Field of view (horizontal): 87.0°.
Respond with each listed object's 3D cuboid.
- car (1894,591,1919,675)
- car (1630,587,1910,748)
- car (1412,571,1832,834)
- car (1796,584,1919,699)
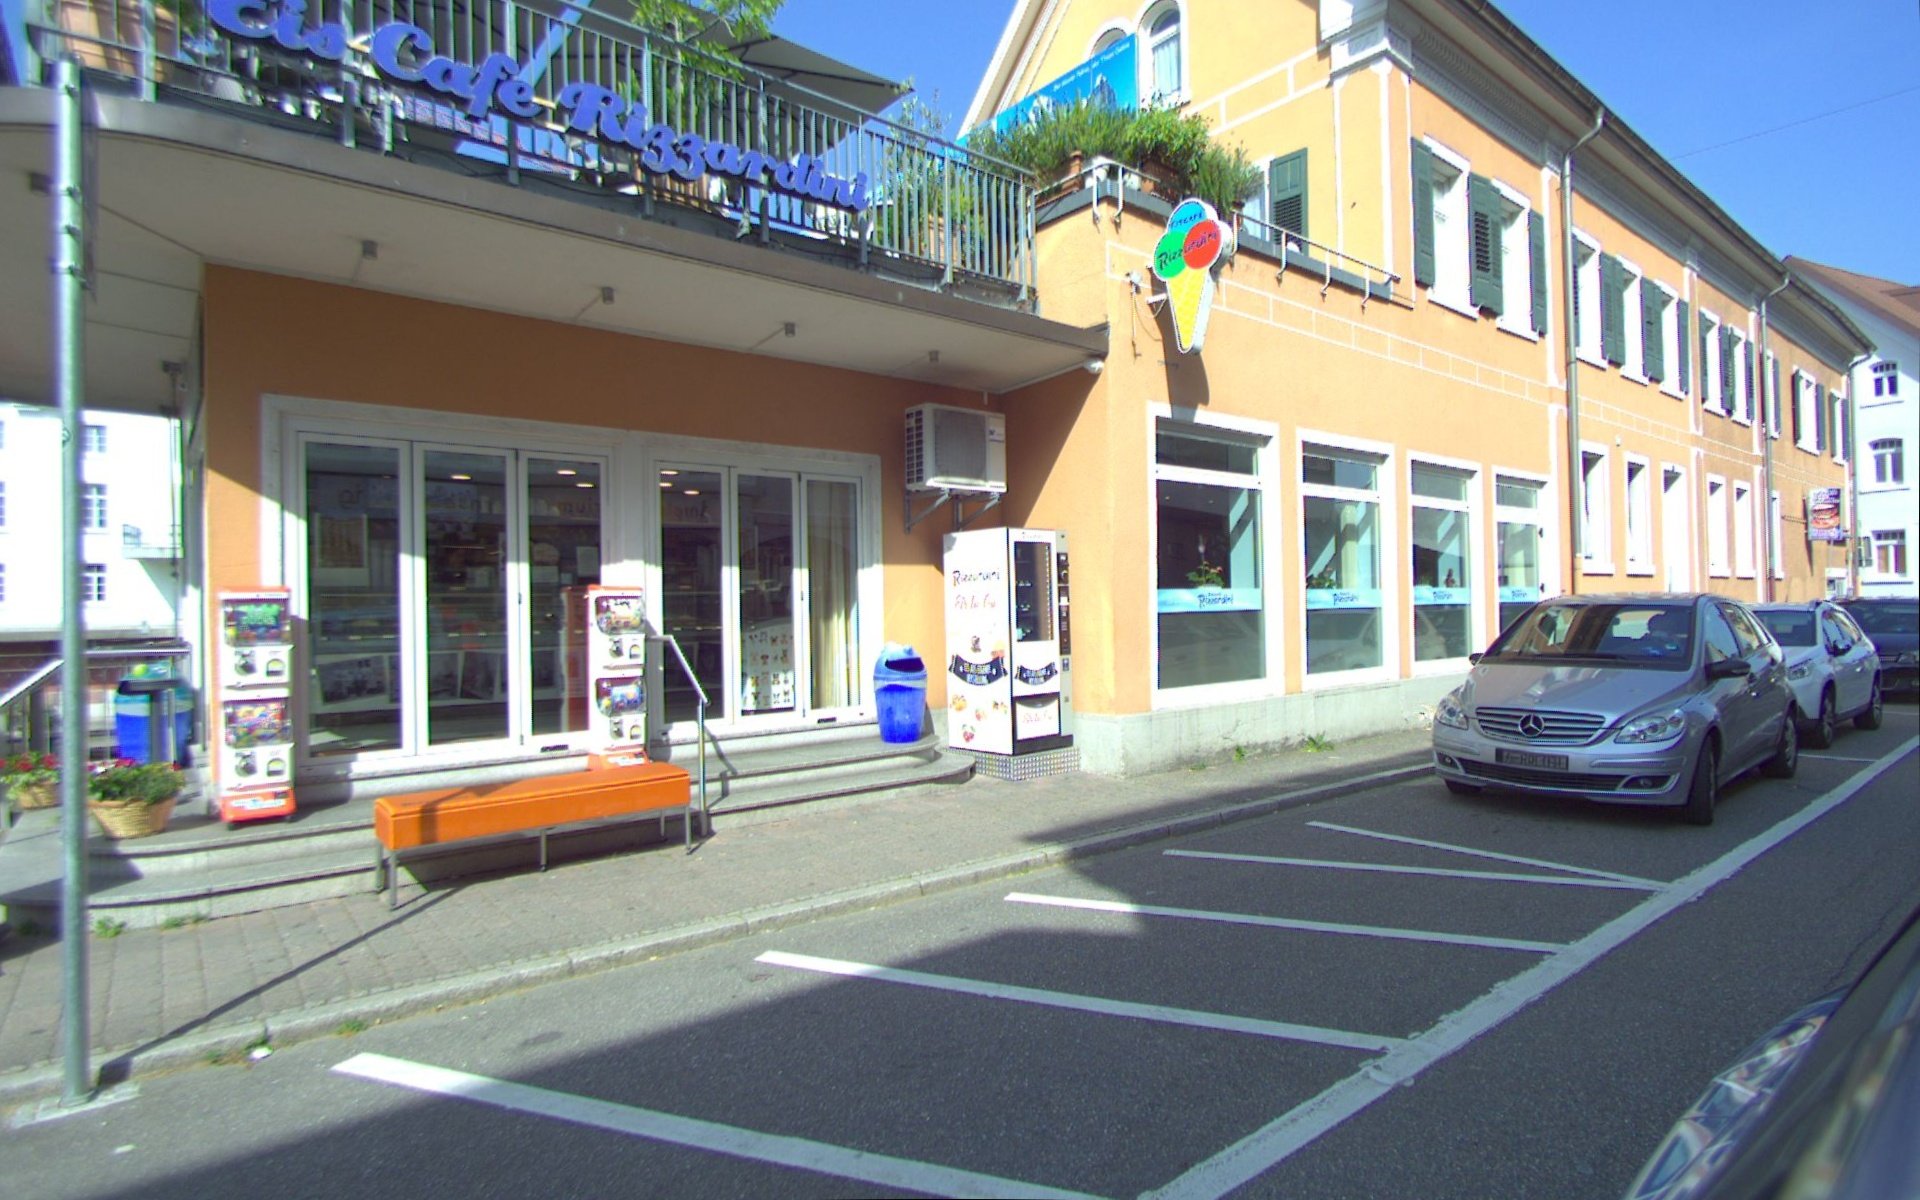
[{"bbox_3d":[19.859,0.619,19.848,4.110,1.559,1.683,0,0,-39],"label":"car"},{"bbox_3d":[9.548,0.669,11.832,4.029,1.579,1.682,0,-1,-39],"label":"car"},{"bbox_3d":[5.658,0.644,8.395,4.514,1.617,1.748,0,-1,-41],"label":"car"},{"bbox_3d":[15.128,0.585,16.361,4.174,1.666,1.683,0,0,-39],"label":"car"}]
